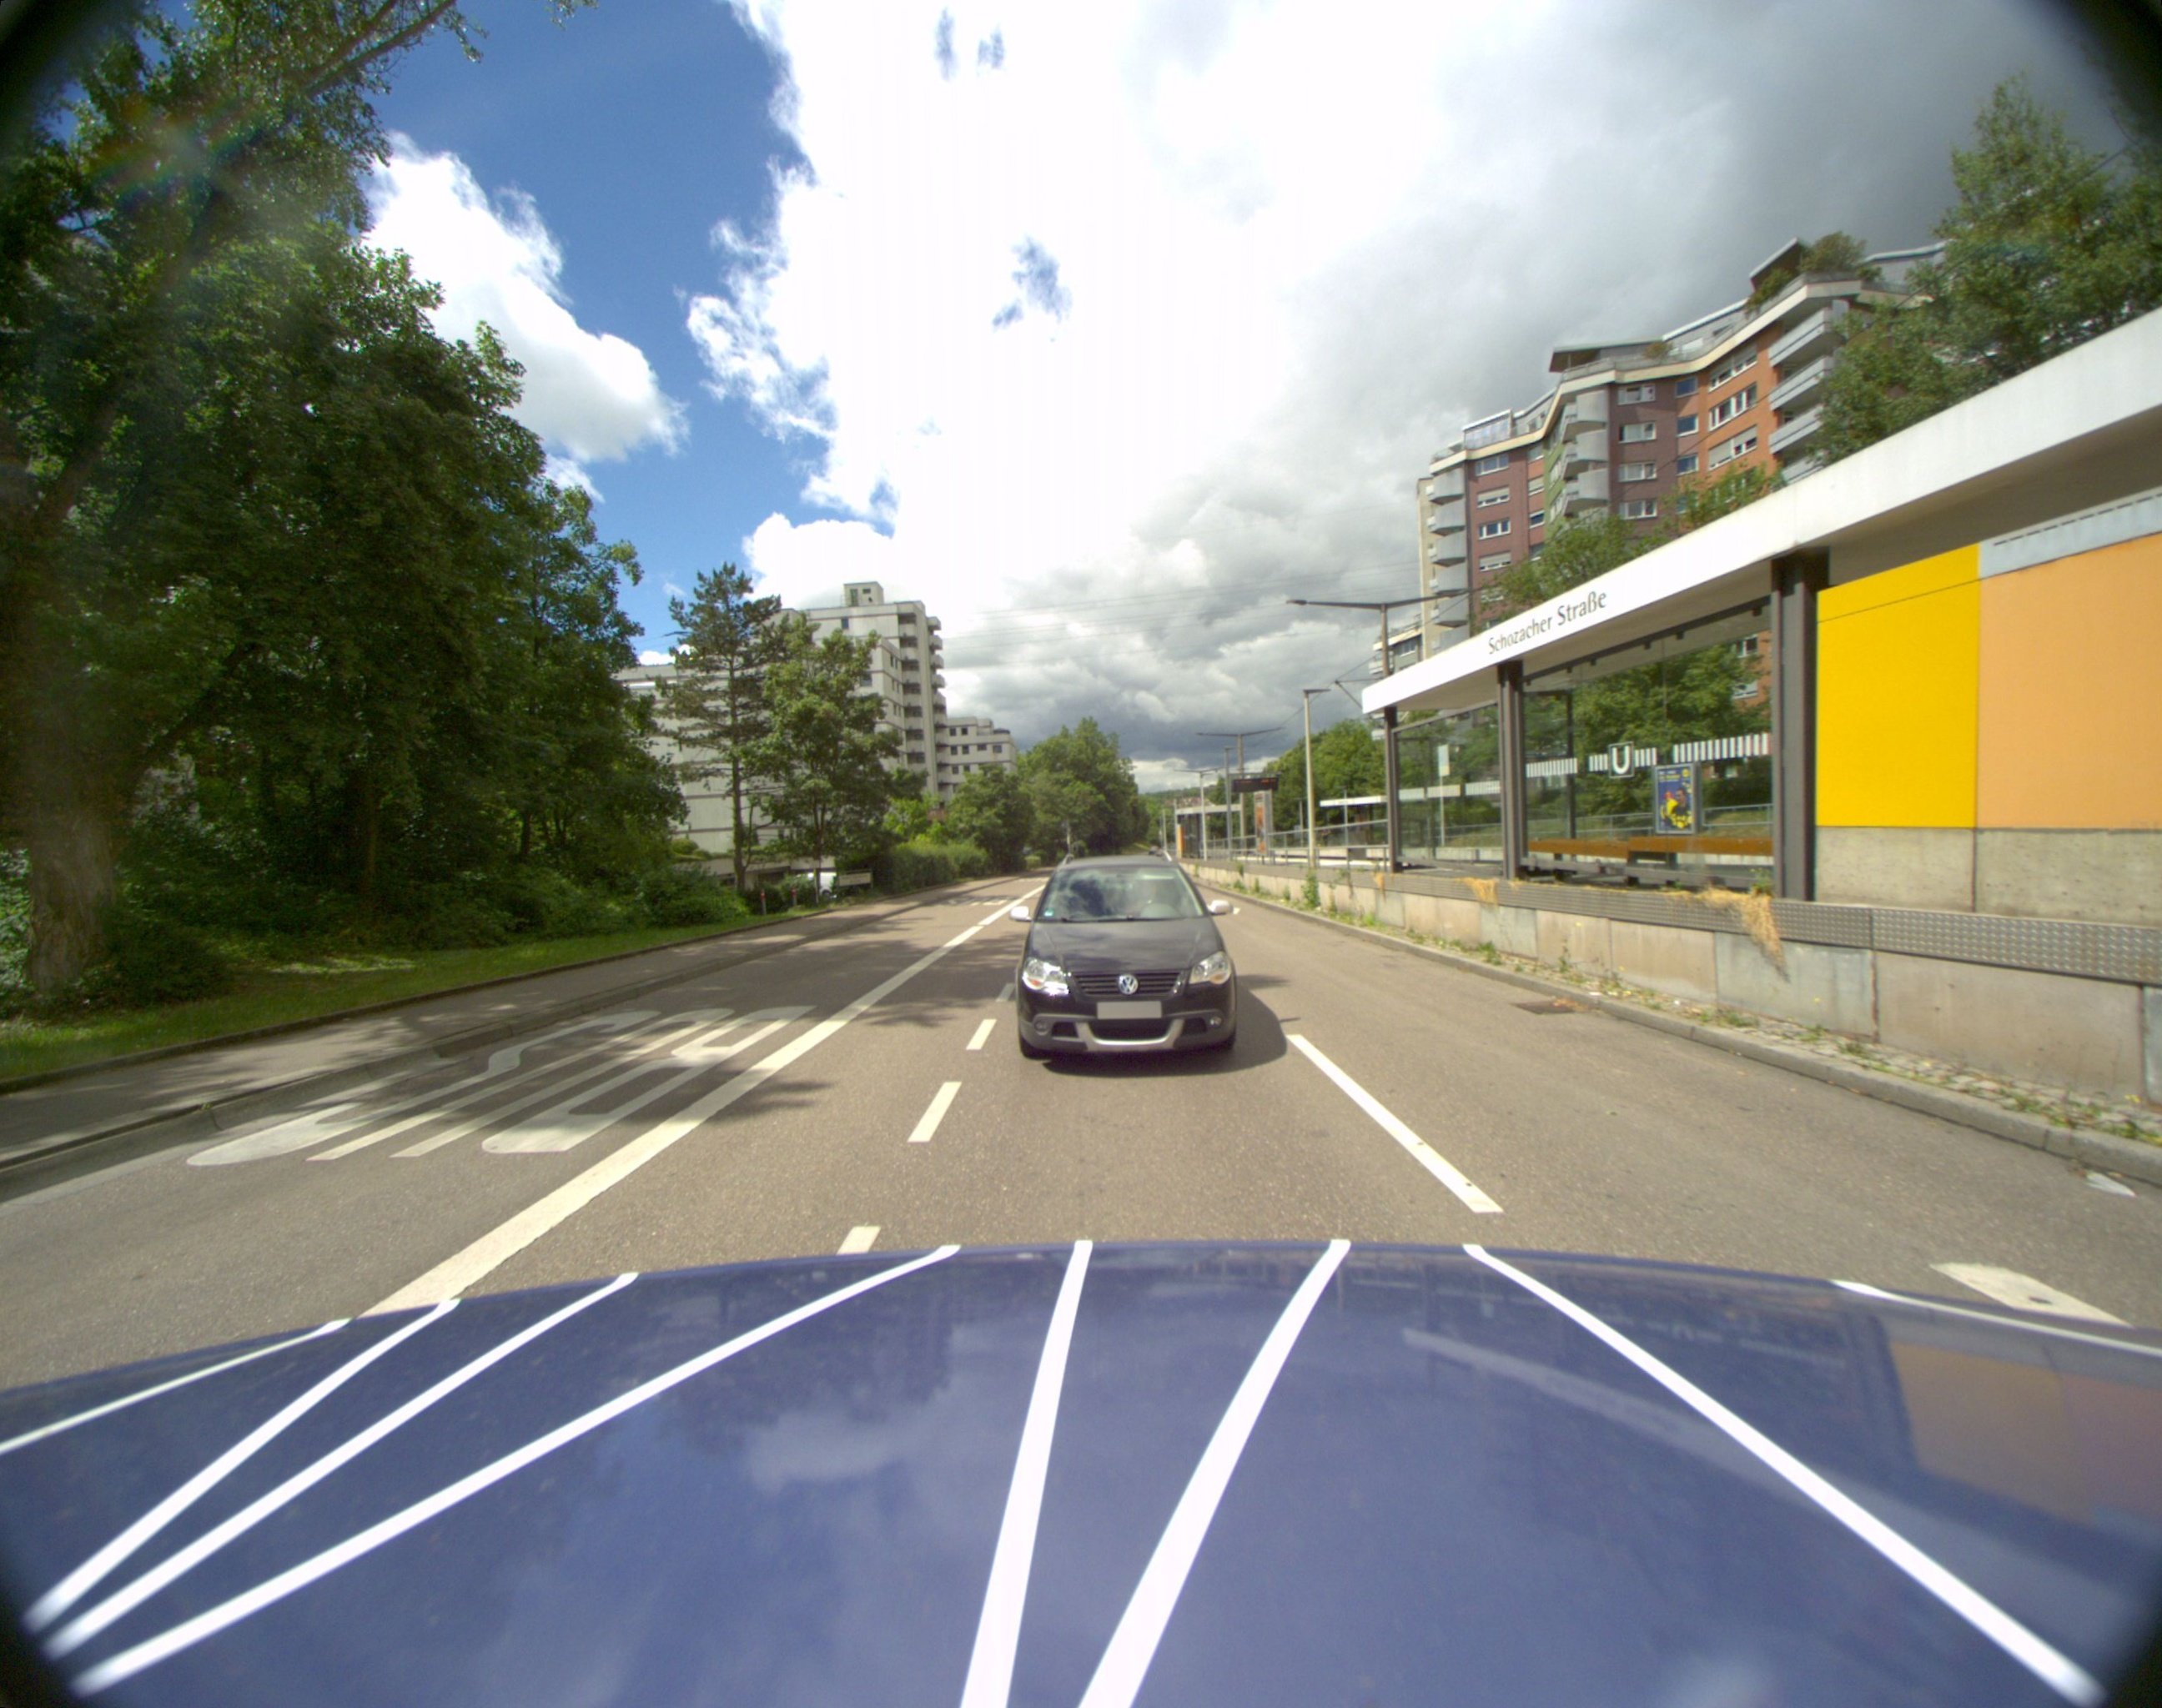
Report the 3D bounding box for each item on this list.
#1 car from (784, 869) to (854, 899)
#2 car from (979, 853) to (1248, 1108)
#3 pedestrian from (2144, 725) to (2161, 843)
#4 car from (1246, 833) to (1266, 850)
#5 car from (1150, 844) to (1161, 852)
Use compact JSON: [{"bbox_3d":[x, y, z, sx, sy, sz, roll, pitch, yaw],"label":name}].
[{"bbox_3d":[-19.896,2.240,57.803,4.543,2.002,2.001,-2,1,7],"label":"car"},{"bbox_3d":[0.299,0.806,6.805,1.641,1.521,4.000,-2,1,3],"label":"car"},{"bbox_3d":[15.843,-1.021,11.033,0.354,1.703,0.426,-3,2,-41],"label":"pedestrian"},{"bbox_3d":[22.146,-1.589,96.151,1.737,2.002,4.000,-2,1,2],"label":"car"},{"bbox_3d":[14.427,-1.174,147.060,1.821,1.377,4.065,-2,1,2],"label":"car"}]
